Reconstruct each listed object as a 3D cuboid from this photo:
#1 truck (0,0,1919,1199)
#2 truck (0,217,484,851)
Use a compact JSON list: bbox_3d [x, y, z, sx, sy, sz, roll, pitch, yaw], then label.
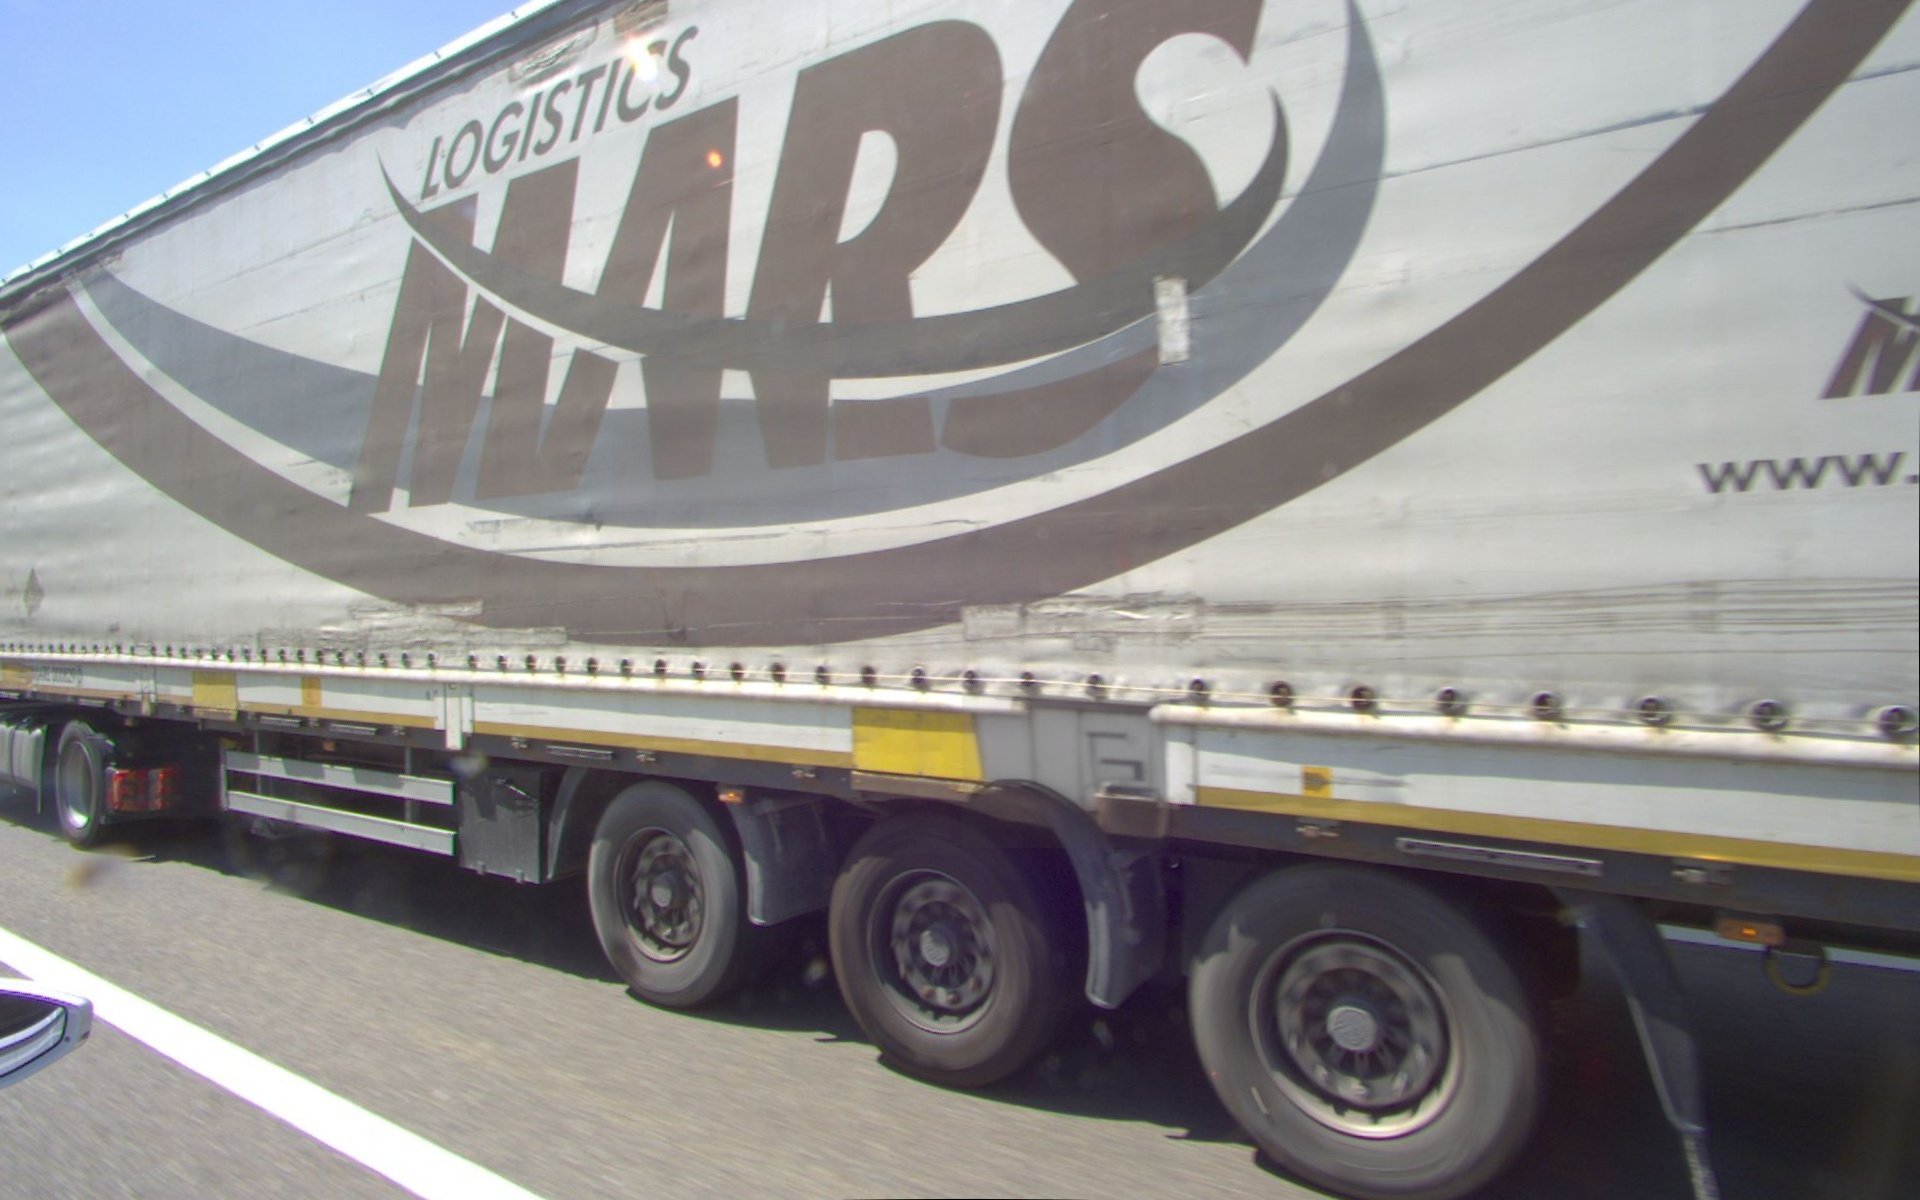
[{"bbox_3d":[-1.644,-0.524,5.603,13.545,4.120,2.721,-2,-1,32],"label":"truck"},{"bbox_3d":[-7.327,-0.340,9.169,5.672,4.120,2.714,-2,-1,32],"label":"truck"}]
